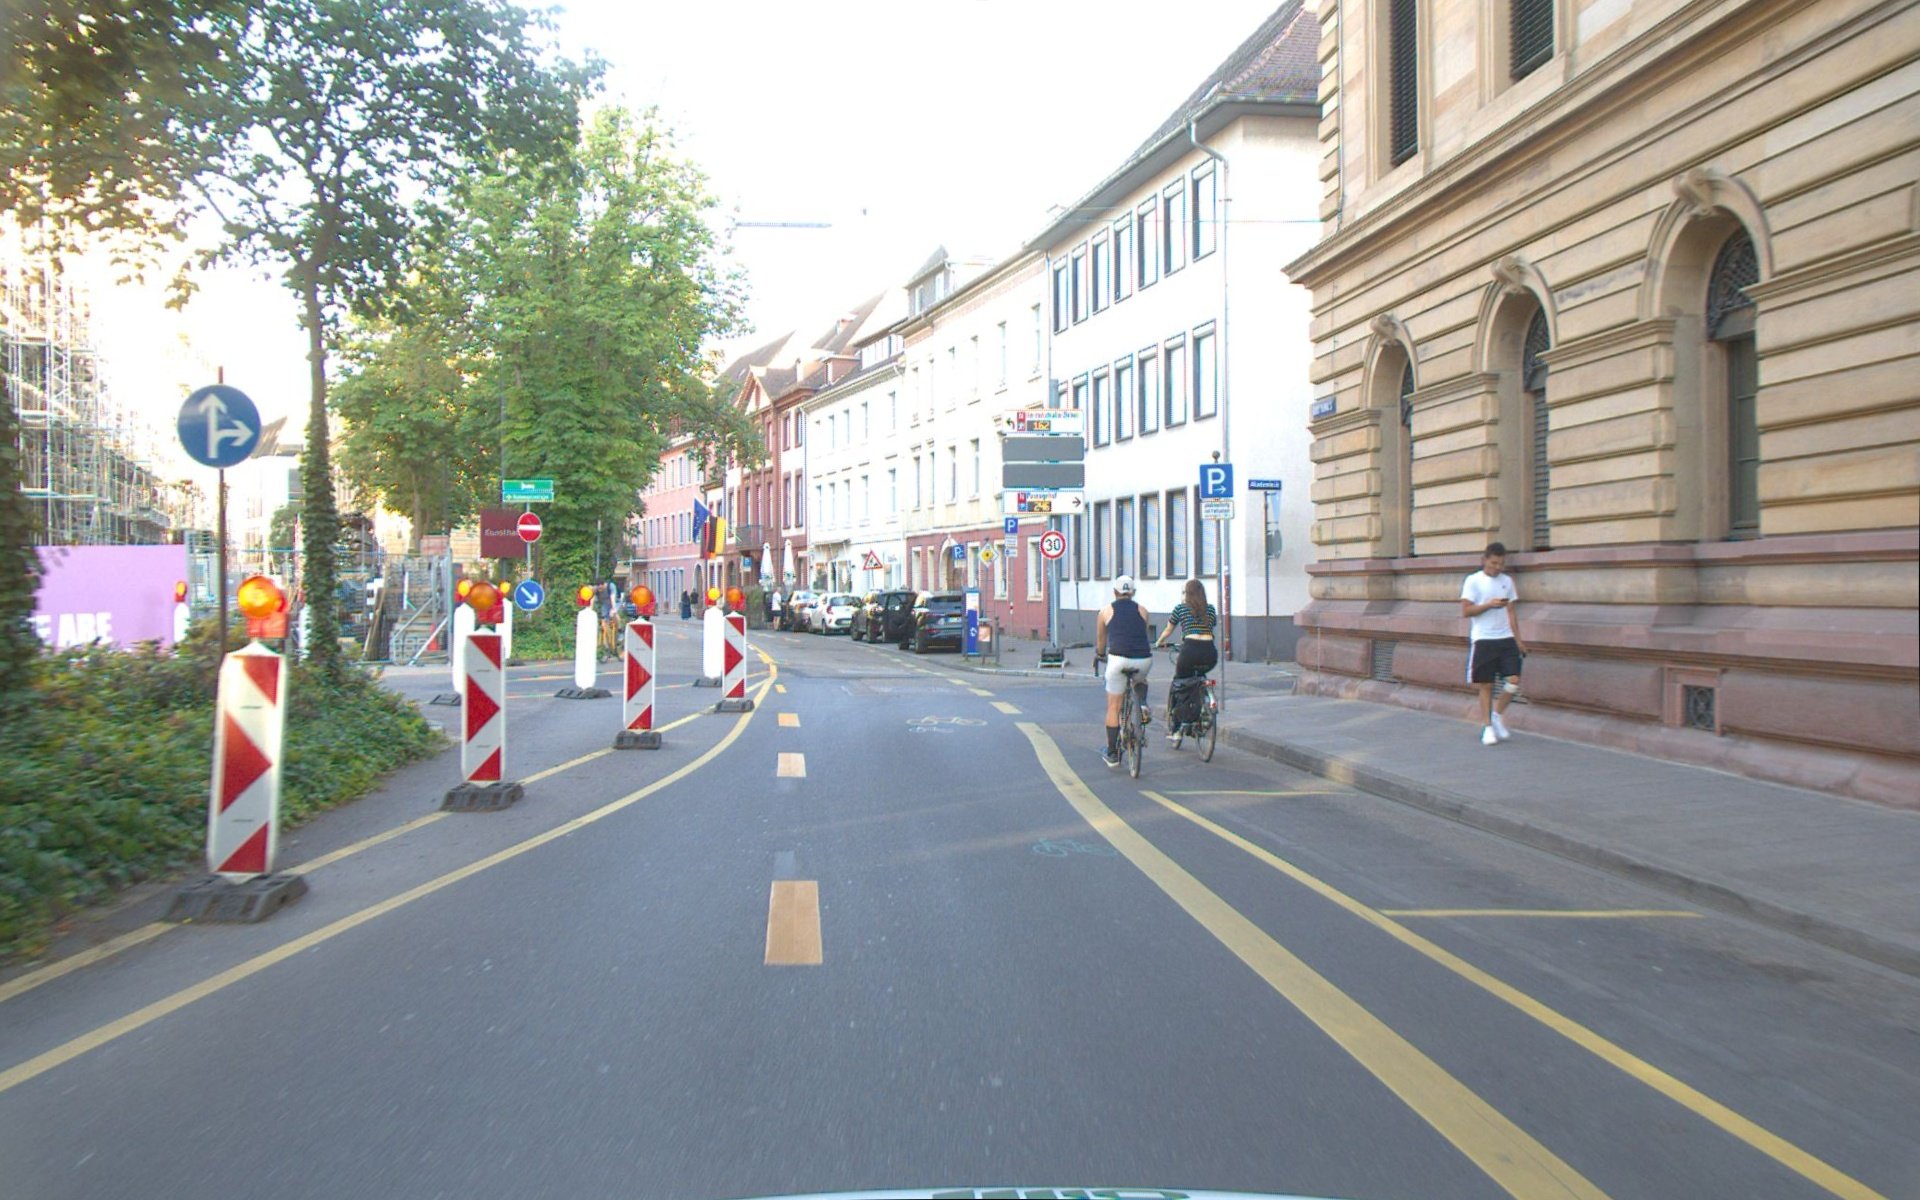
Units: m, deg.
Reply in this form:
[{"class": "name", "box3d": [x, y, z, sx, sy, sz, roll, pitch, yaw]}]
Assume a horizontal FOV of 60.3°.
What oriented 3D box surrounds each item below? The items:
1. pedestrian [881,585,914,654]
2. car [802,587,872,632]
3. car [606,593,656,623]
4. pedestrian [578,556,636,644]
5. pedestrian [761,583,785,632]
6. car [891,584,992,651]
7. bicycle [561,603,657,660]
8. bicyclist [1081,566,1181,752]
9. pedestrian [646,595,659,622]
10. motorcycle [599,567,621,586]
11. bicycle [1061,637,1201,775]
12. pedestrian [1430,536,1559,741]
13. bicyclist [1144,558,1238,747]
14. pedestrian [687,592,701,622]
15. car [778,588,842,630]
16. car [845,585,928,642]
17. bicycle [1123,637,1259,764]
[{"class": "pedestrian", "box3d": [-1.708, 0.526, 45.492, 0.882, 1.898, 0.932, 0, 0, 0]}, {"class": "car", "box3d": [-4.522, 0.311, 60.362, 1.784, 1.587, 3.846, 0, 0, -17]}, {"class": "car", "box3d": [-18.202, 0.415, 91.399, 1.791, 1.587, 3.831, 0, 0, -27]}, {"class": "pedestrian", "box3d": [-6.915, 0.000, 32.449, 0.720, 1.703, 0.895, 0, 0, 24]}, {"class": "pedestrian", "box3d": [-7.298, 0.277, 64.605, 0.814, 1.876, 0.958, 1, 1, -1]}, {"class": "car", "box3d": [-0.552, 0.432, 44.567, 1.783, 1.712, 3.903, 0, 0, -16]}, {"class": "bicycle", "box3d": [-6.873, 0.596, 32.500, 0.745, 1.055, 2.120, 0, 0, 23]}, {"class": "bicyclist", "box3d": [1.500, 0.509, 14.584, 0.657, 1.593, 0.696, 2, 0, -12]}, {"class": "pedestrian", "box3d": [-18.829, 0.516, 101.259, 0.657, 1.609, 0.582, 0, 0, -19]}, {"class": "motorcycle", "box3d": [-22.775, -1.521, 107.545, 1.026, 1.270, 2.383, 0, 0, -21]}, {"class": "bicycle", "box3d": [1.475, 0.899, 14.638, 0.658, 1.089, 1.895, 1, 0, -12]}, {"class": "pedestrian", "box3d": [4.858, 0.329, 15.094, 0.800, 1.796, 1.038, 1, 1, -1]}, {"class": "bicyclist", "box3d": [2.257, 0.498, 16.234, 0.637, 1.791, 0.862, 2, 0, -10]}, {"class": "pedestrian", "box3d": [-16.026, 0.421, 99.672, 0.739, 1.793, 0.582, 0, 0, -19]}, {"class": "car", "box3d": [-5.884, 0.314, 64.572, 1.784, 1.587, 3.846, 0, 0, -17]}, {"class": "car", "box3d": [-2.373, 0.403, 52.520, 1.783, 1.713, 3.983, 0, 0, -16]}, {"class": "bicycle", "box3d": [2.231, 0.945, 16.281, 0.641, 1.089, 2.253, 2, 0, -10]}]
